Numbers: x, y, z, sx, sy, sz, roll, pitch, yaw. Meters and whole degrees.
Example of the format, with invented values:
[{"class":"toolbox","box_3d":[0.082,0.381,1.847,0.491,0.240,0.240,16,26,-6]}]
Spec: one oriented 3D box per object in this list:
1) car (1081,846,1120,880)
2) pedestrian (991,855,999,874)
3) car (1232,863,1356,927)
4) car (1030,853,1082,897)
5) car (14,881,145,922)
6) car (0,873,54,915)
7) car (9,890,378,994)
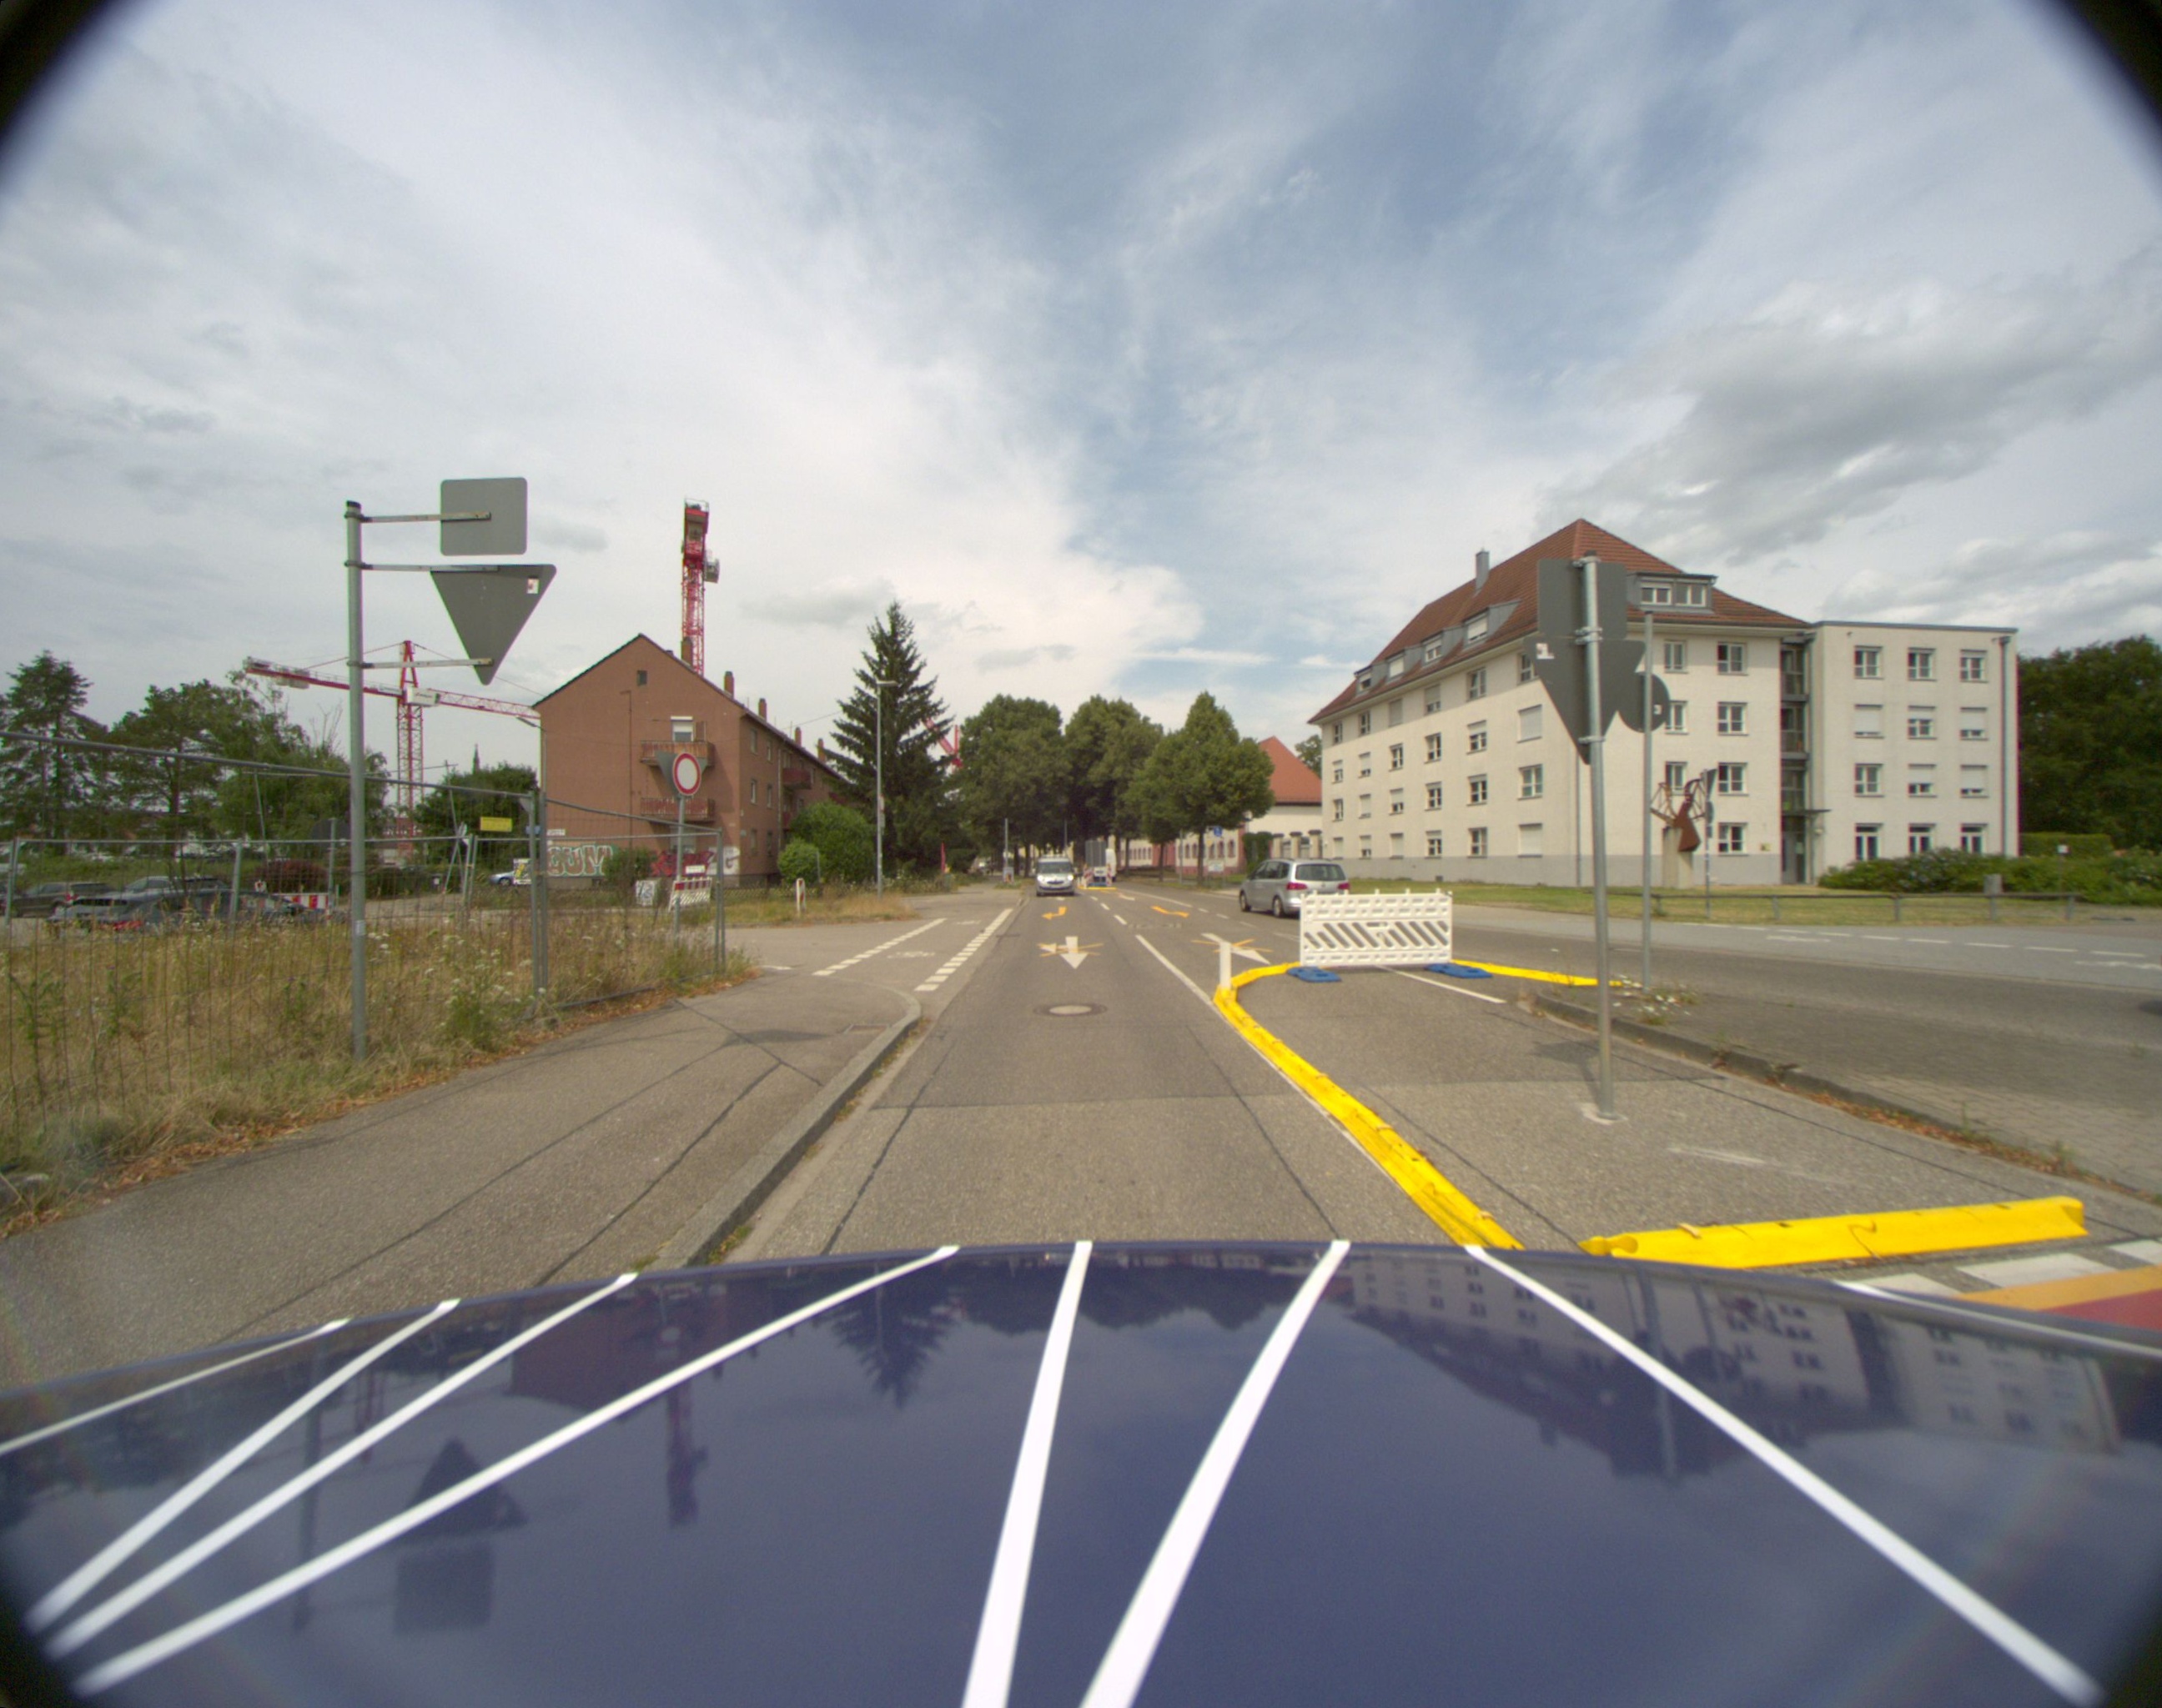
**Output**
[{"class":"car","box_3d":[1.559,0.721,62.633,2.071,2.670,5.965,-1,0,-10]},{"class":"pedestrian","box_3d":[-9.189,1.149,81.268,0.856,2.002,0.731,-1,0,-5]},{"class":"car","box_3d":[6.019,1.090,22.102,1.801,1.613,4.745,-1,0,-7]},{"class":"car","box_3d":[-1.247,0.958,36.075,1.811,1.936,4.580,-1,0,-10]},{"class":"car","box_3d":[-41.686,1.961,31.656,4.006,1.593,1.804,-1,0,13]},{"class":"car","box_3d":[-46.726,1.704,32.463,4.006,1.739,1.859,-1,0,12]},{"class":"car","box_3d":[-16.196,1.515,14.298,1.765,1.465,4.261,-1,0,5]}]
